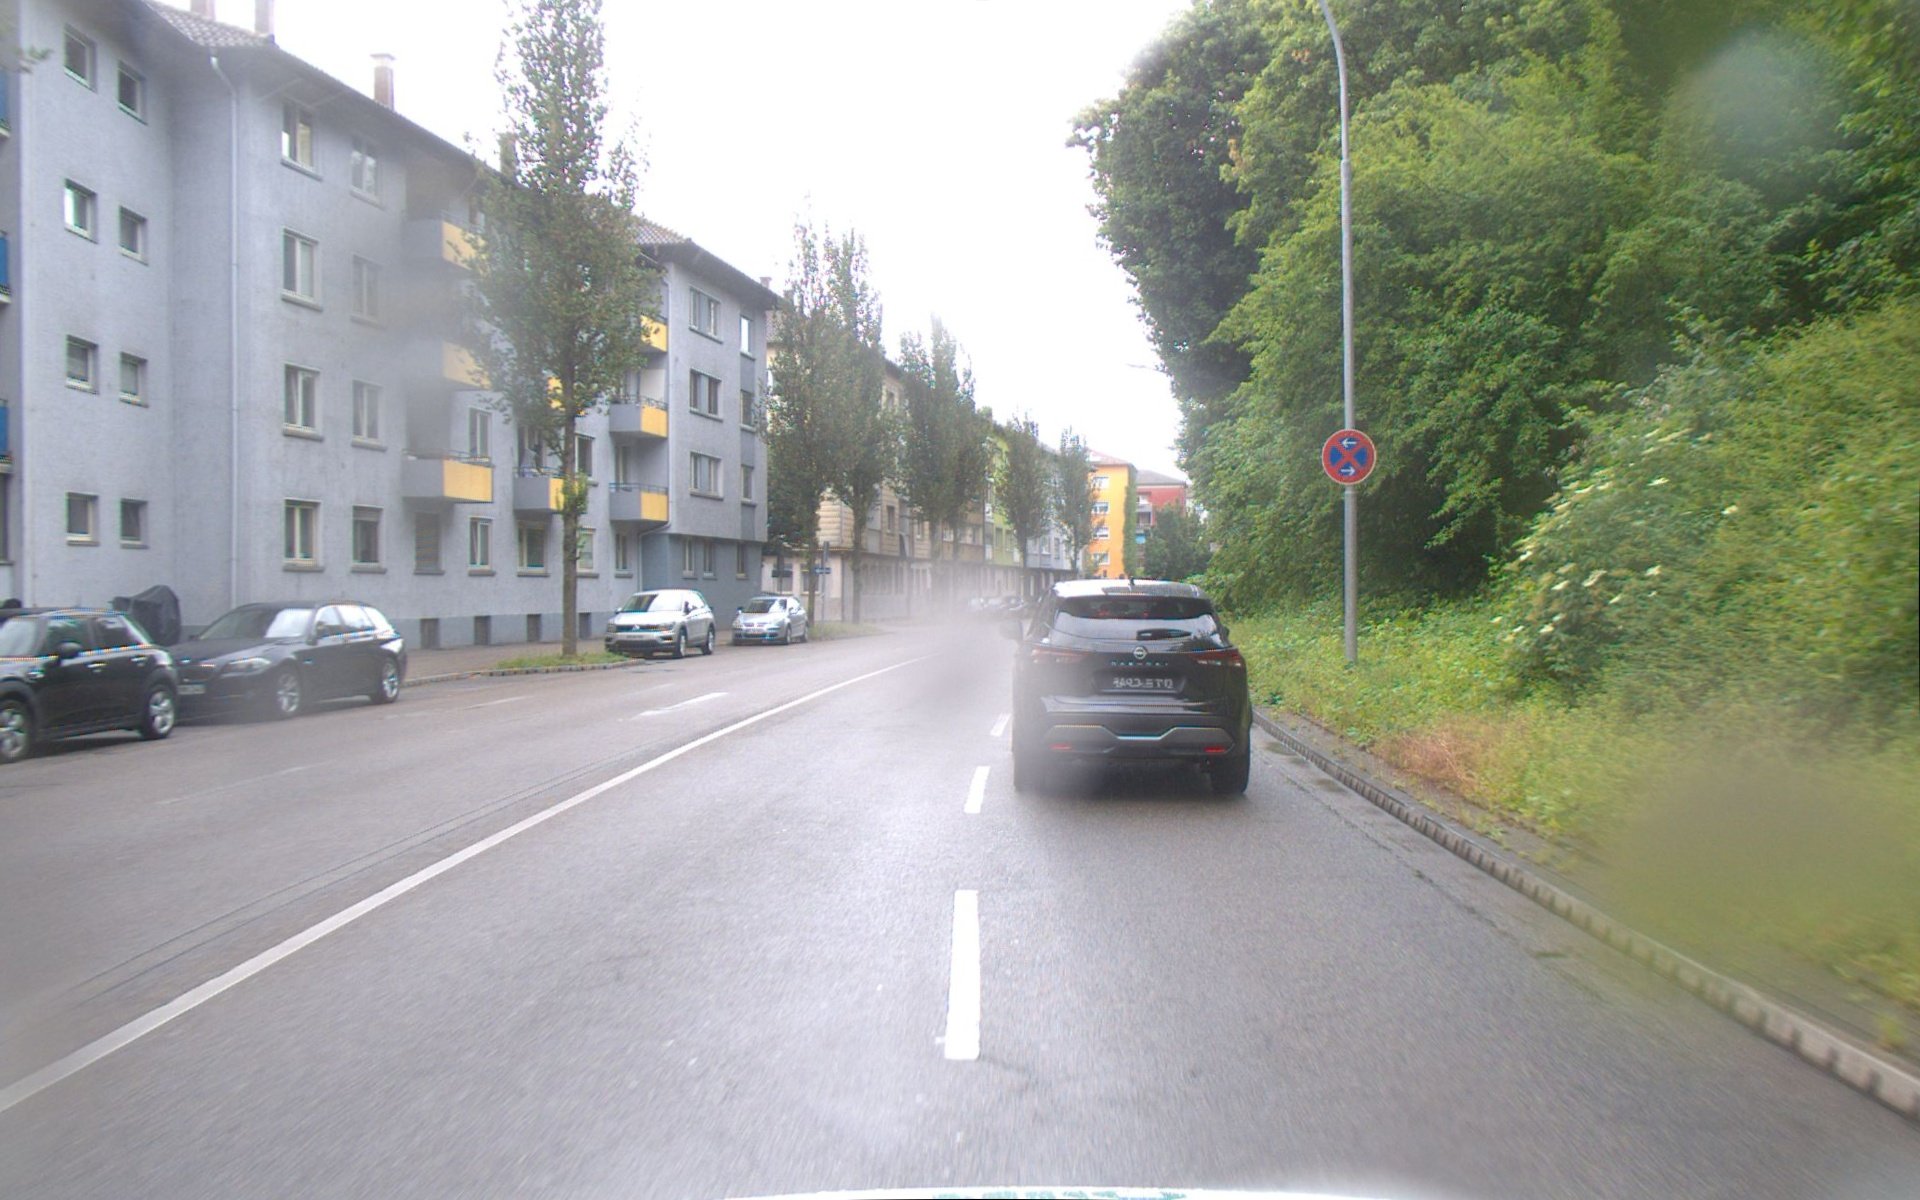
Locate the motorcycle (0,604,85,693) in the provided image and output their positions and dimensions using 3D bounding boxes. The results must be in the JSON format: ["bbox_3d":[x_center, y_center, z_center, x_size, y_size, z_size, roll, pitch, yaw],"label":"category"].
[{"bbox_3d":[-14.489,0.716,25.591,0.661,1.276,2.236,2,0,0],"label":"motorcycle"}]

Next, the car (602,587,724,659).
[{"bbox_3d":[-7.165,0.520,40.350,1.726,1.632,4.536,-1,0,5],"label":"car"}]

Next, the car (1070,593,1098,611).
[{"bbox_3d":[10.494,0.125,140.230,1.652,1.381,4.583,-3,0,13],"label":"car"}]

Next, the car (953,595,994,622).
[{"bbox_3d":[0.774,0.445,90.932,1.591,1.411,3.992,-1,0,10],"label":"car"}]

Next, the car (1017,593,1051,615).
[{"bbox_3d":[5.277,0.269,117.671,1.778,1.396,4.684,-2,0,10],"label":"car"}]

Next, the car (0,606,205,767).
[{"bbox_3d":[-9.476,0.824,16.517,1.742,1.427,4.090,-2,0,4],"label":"car"}]

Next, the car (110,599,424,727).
[{"bbox_3d":[-9.030,0.753,22.093,1.782,1.465,4.895,-2,0,4],"label":"car"}]

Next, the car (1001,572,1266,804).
[{"bbox_3d":[1.279,0.602,13.706,1.807,1.610,4.001,1,1,1],"label":"car"}]

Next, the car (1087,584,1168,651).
[{"bbox_3d":[4.538,0.456,45.233,1.848,1.741,4.000,0,0,1],"label":"car"}]

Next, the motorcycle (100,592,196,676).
[{"bbox_3d":[-14.640,0.583,29.875,0.661,1.438,2.235,2,0,-2],"label":"motorcycle"}]

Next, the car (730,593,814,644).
[{"bbox_3d":[-5.794,0.557,51.338,1.687,1.478,4.208,-1,0,6],"label":"car"}]

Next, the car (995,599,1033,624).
[{"bbox_3d":[3.492,0.705,106.084,1.681,1.515,4.519,-2,0,11],"label":"car"}]
